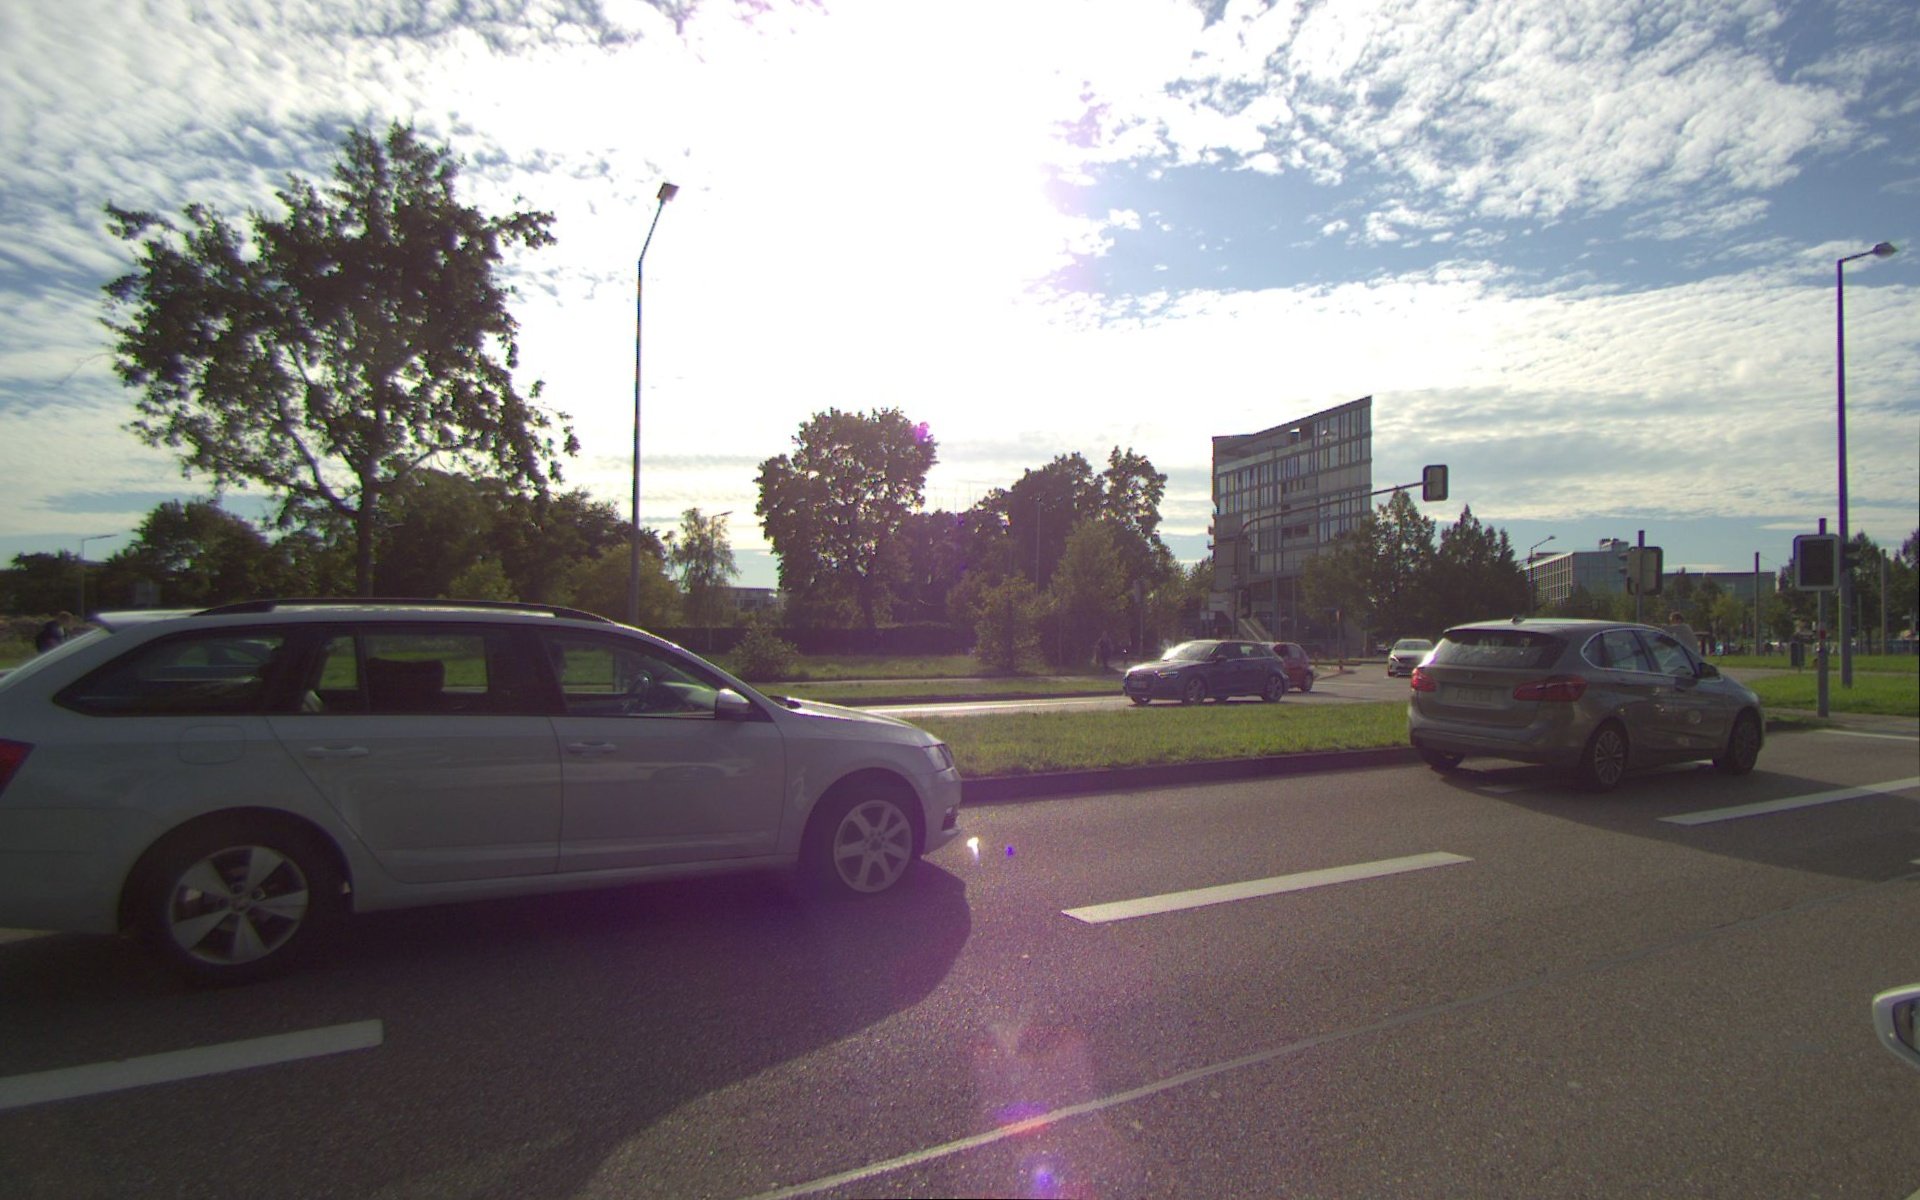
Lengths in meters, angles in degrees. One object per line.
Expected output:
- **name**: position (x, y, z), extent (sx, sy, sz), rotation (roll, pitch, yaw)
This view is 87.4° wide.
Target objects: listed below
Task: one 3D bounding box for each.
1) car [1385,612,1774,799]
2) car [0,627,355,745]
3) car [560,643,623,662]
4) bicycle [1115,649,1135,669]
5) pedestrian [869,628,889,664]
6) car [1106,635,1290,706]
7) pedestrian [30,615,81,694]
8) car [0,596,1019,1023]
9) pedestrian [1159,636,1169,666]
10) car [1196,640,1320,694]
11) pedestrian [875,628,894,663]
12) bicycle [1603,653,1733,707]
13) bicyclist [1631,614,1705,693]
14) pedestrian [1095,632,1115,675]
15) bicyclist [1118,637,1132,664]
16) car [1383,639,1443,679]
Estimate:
- **car**: position (6.442, 0.962, 10.360), extent (4.020, 1.593, 1.759), rotation (2, -1, -30)
- **car**: position (-11.876, 1.272, 15.362), extent (4.403, 1.592, 1.842), rotation (2, -4, -30)
- **car**: position (-25.734, 3.662, 70.180), extent (3.913, 1.293, 1.687), rotation (0, -2, 15)
- **bicycle**: position (9.232, 3.287, 56.123), extent (0.599, 1.001, 1.836), rotation (-2, -1, 25)
- **pedestrian**: position (-4.534, 2.576, 56.178), extent (0.879, 1.942, 0.867), rotation (2, 0, 6)
- **car**: position (5.363, 1.556, 22.482), extent (4.029, 1.452, 1.838), rotation (2, -5, -36)
- **pedestrian**: position (-19.472, 1.159, 21.629), extent (0.649, 1.651, 0.624), rotation (1, -1, -28)
- **car**: position (-2.107, 0.778, 5.213), extent (4.584, 1.464, 1.842), rotation (2, -1, -30)
- **pedestrian**: position (11.185, 2.808, 55.041), extent (0.495, 1.646, 0.548), rotation (0, -2, 9)
- **car**: position (8.631, 1.894, 28.986), extent (3.558, 1.452, 1.668), rotation (2, -3, -37)
- **pedestrian**: position (-4.287, 2.587, 56.982), extent (0.879, 1.942, 0.867), rotation (2, 0, 6)
- **bicycle**: position (14.505, 1.612, 20.646), extent (0.988, 1.020, 1.949), rotation (1, -2, -25)
- **bicyclist**: position (14.517, 1.086, 20.611), extent (0.984, 1.576, 0.860), rotation (1, -2, -25)
- **pedestrian**: position (5.283, 1.948, 36.639), extent (0.616, 1.528, 0.757), rotation (2, 1, 13)
- **bicyclist**: position (9.229, 2.809, 56.066), extent (0.599, 1.464, 0.698), rotation (0, -2, 24)
- **car**: position (17.720, 2.274, 39.168), extent (1.656, 1.452, 3.986), rotation (-1, -3, 31)
